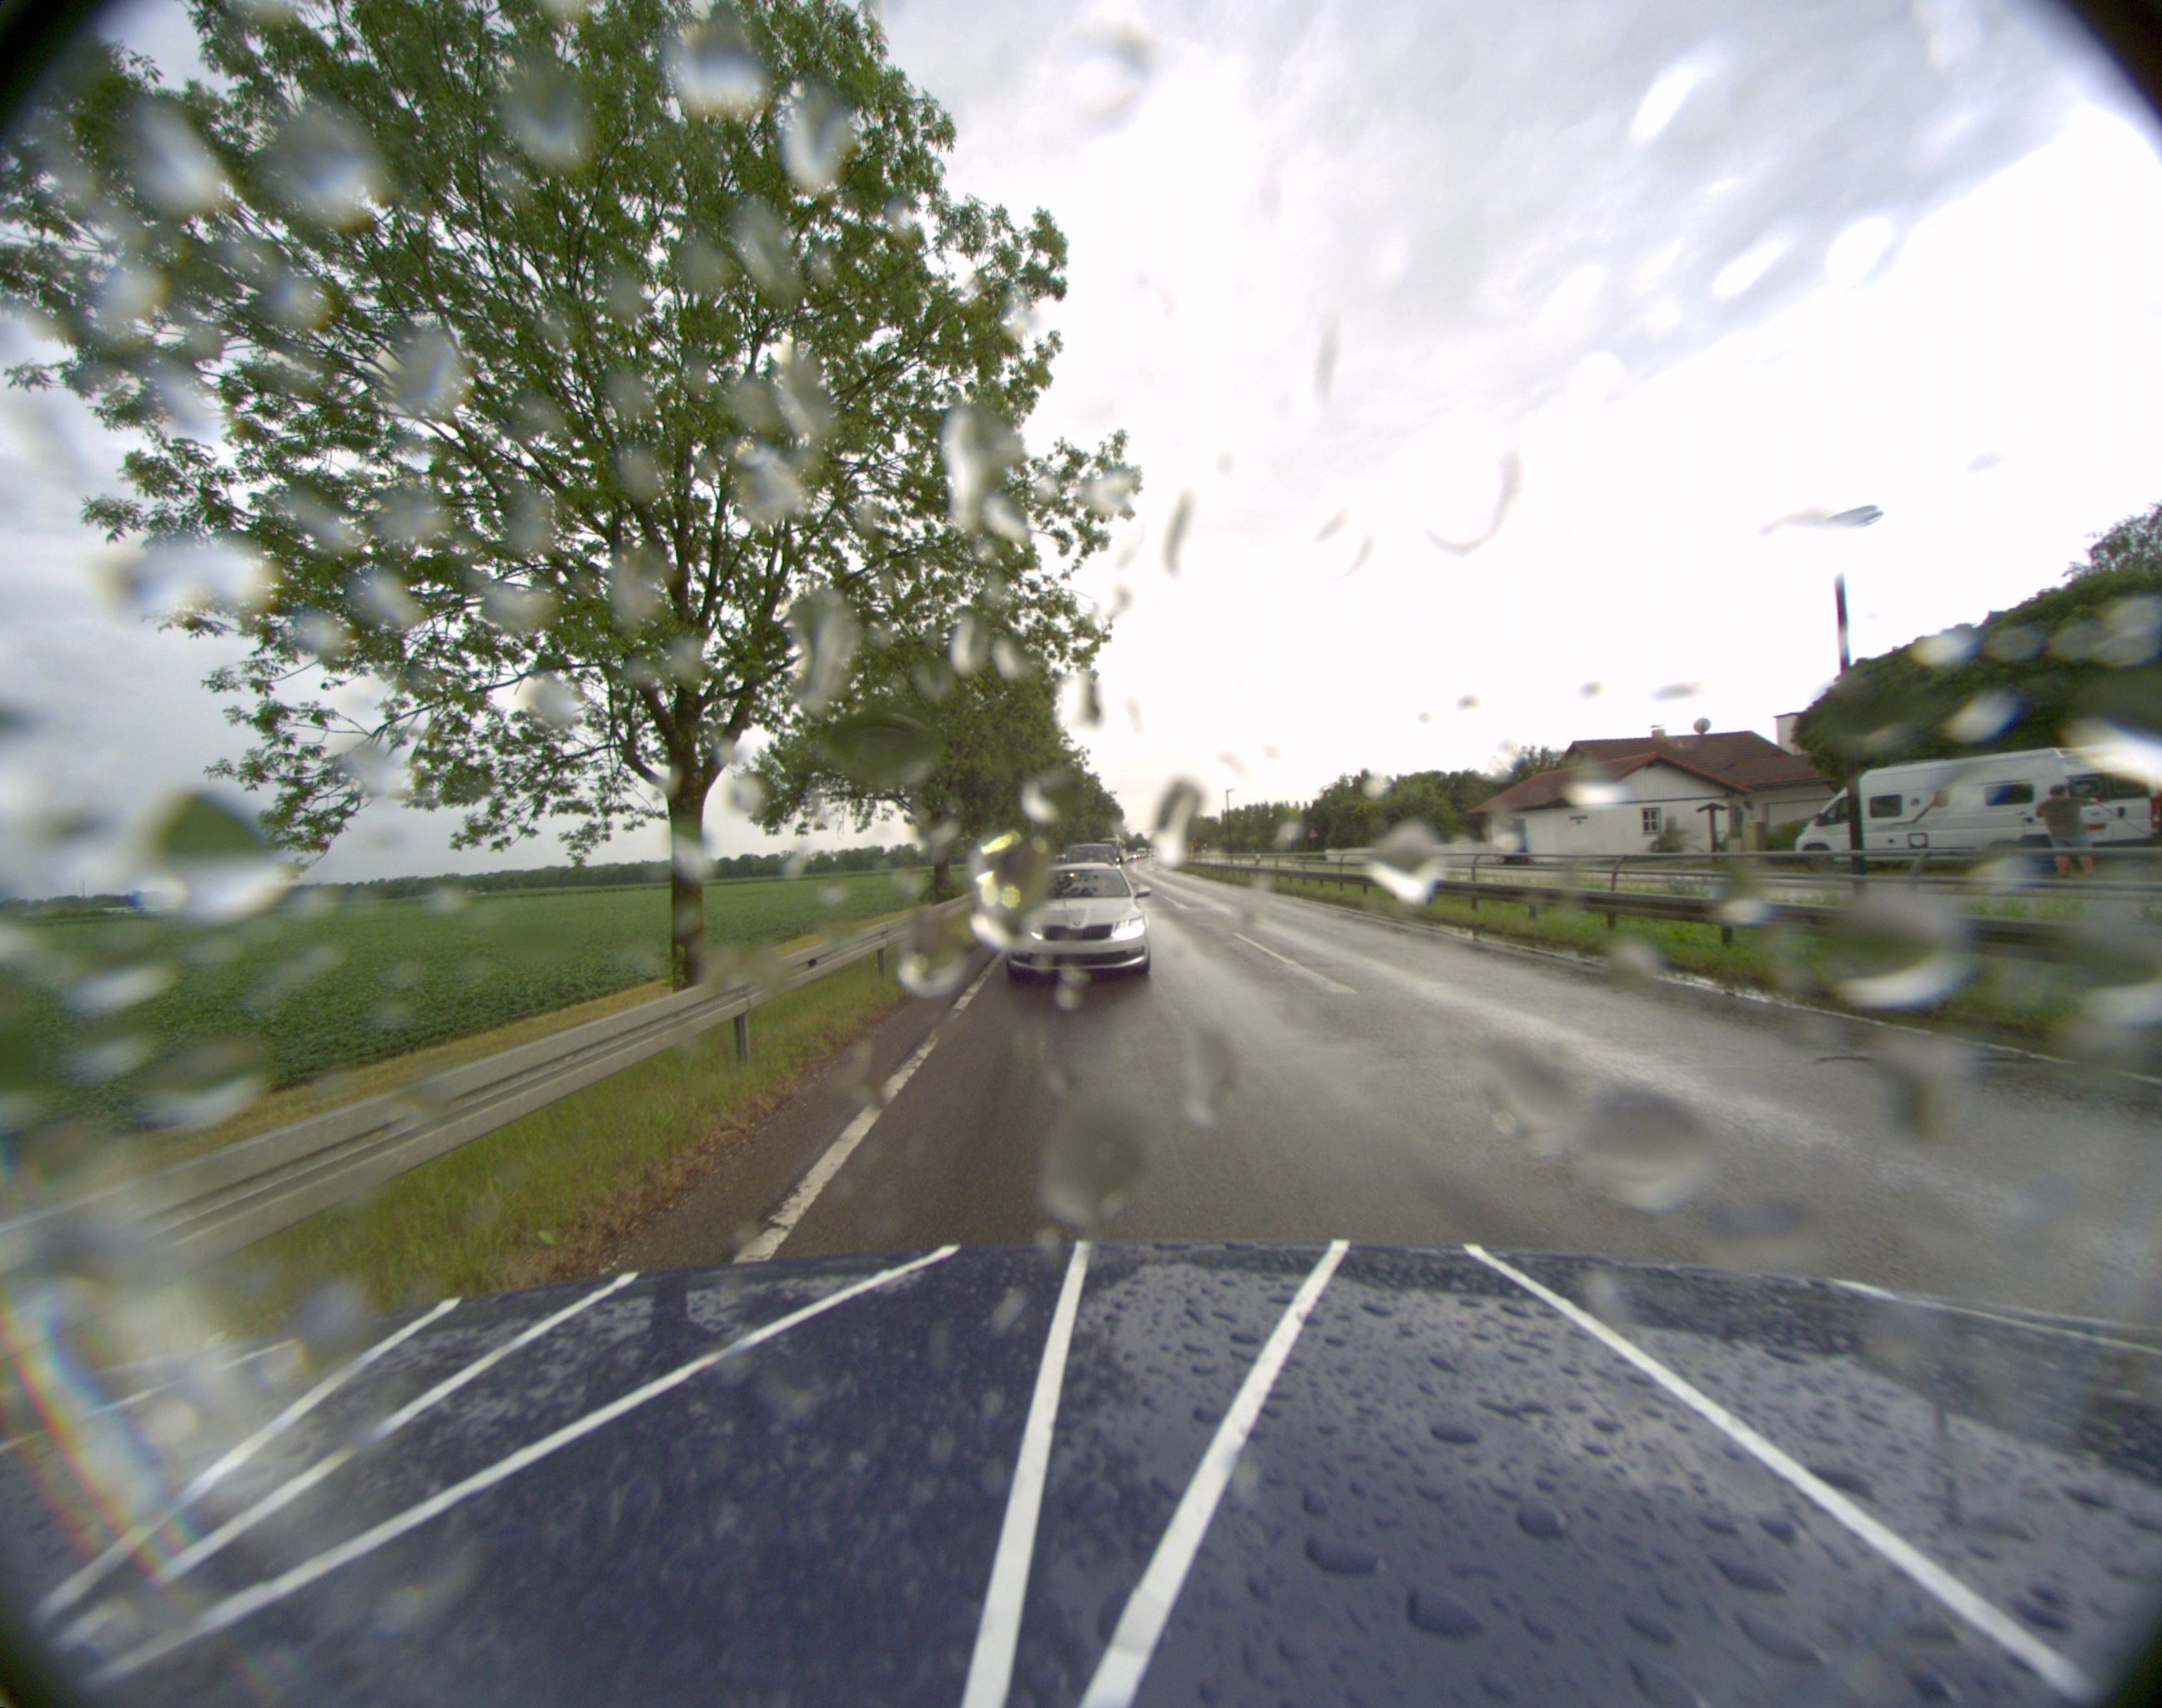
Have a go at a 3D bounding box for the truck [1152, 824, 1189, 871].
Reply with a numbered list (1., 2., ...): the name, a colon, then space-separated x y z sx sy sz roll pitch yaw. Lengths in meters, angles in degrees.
1. truck: 10.309 -0.710 88.264 3.256 5.004 7.783 -4 0 2

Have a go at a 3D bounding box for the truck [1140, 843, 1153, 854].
1. truck: 16.848 -1.422 196.136 2.800 2.461 7.169 -3 0 3

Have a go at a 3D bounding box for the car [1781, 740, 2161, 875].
1. car: 20.626 -0.939 18.101 2.243 2.565 6.019 -4 0 0

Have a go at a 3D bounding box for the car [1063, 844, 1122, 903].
1. car: 0.364 0.631 26.957 1.903 1.884 4.000 -1 0 0

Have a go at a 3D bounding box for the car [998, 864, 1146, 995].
1. car: -0.116 0.910 10.908 1.705 1.438 4.000 -1 0 0

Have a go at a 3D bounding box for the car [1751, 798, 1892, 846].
1. car: 24.249 -0.999 25.042 1.452 1.348 3.270 -3 0 1

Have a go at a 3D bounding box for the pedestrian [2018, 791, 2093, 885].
1. pedestrian: 18.260 -0.299 14.248 0.516 1.701 0.650 -3 1 8

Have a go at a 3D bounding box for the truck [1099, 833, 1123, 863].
1. truck: 3.761 -0.760 98.395 2.751 3.547 8.386 -3 0 1

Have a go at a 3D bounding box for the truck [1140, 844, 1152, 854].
1. truck: 18.038 -1.343 210.674 2.800 2.461 7.169 -3 0 3
